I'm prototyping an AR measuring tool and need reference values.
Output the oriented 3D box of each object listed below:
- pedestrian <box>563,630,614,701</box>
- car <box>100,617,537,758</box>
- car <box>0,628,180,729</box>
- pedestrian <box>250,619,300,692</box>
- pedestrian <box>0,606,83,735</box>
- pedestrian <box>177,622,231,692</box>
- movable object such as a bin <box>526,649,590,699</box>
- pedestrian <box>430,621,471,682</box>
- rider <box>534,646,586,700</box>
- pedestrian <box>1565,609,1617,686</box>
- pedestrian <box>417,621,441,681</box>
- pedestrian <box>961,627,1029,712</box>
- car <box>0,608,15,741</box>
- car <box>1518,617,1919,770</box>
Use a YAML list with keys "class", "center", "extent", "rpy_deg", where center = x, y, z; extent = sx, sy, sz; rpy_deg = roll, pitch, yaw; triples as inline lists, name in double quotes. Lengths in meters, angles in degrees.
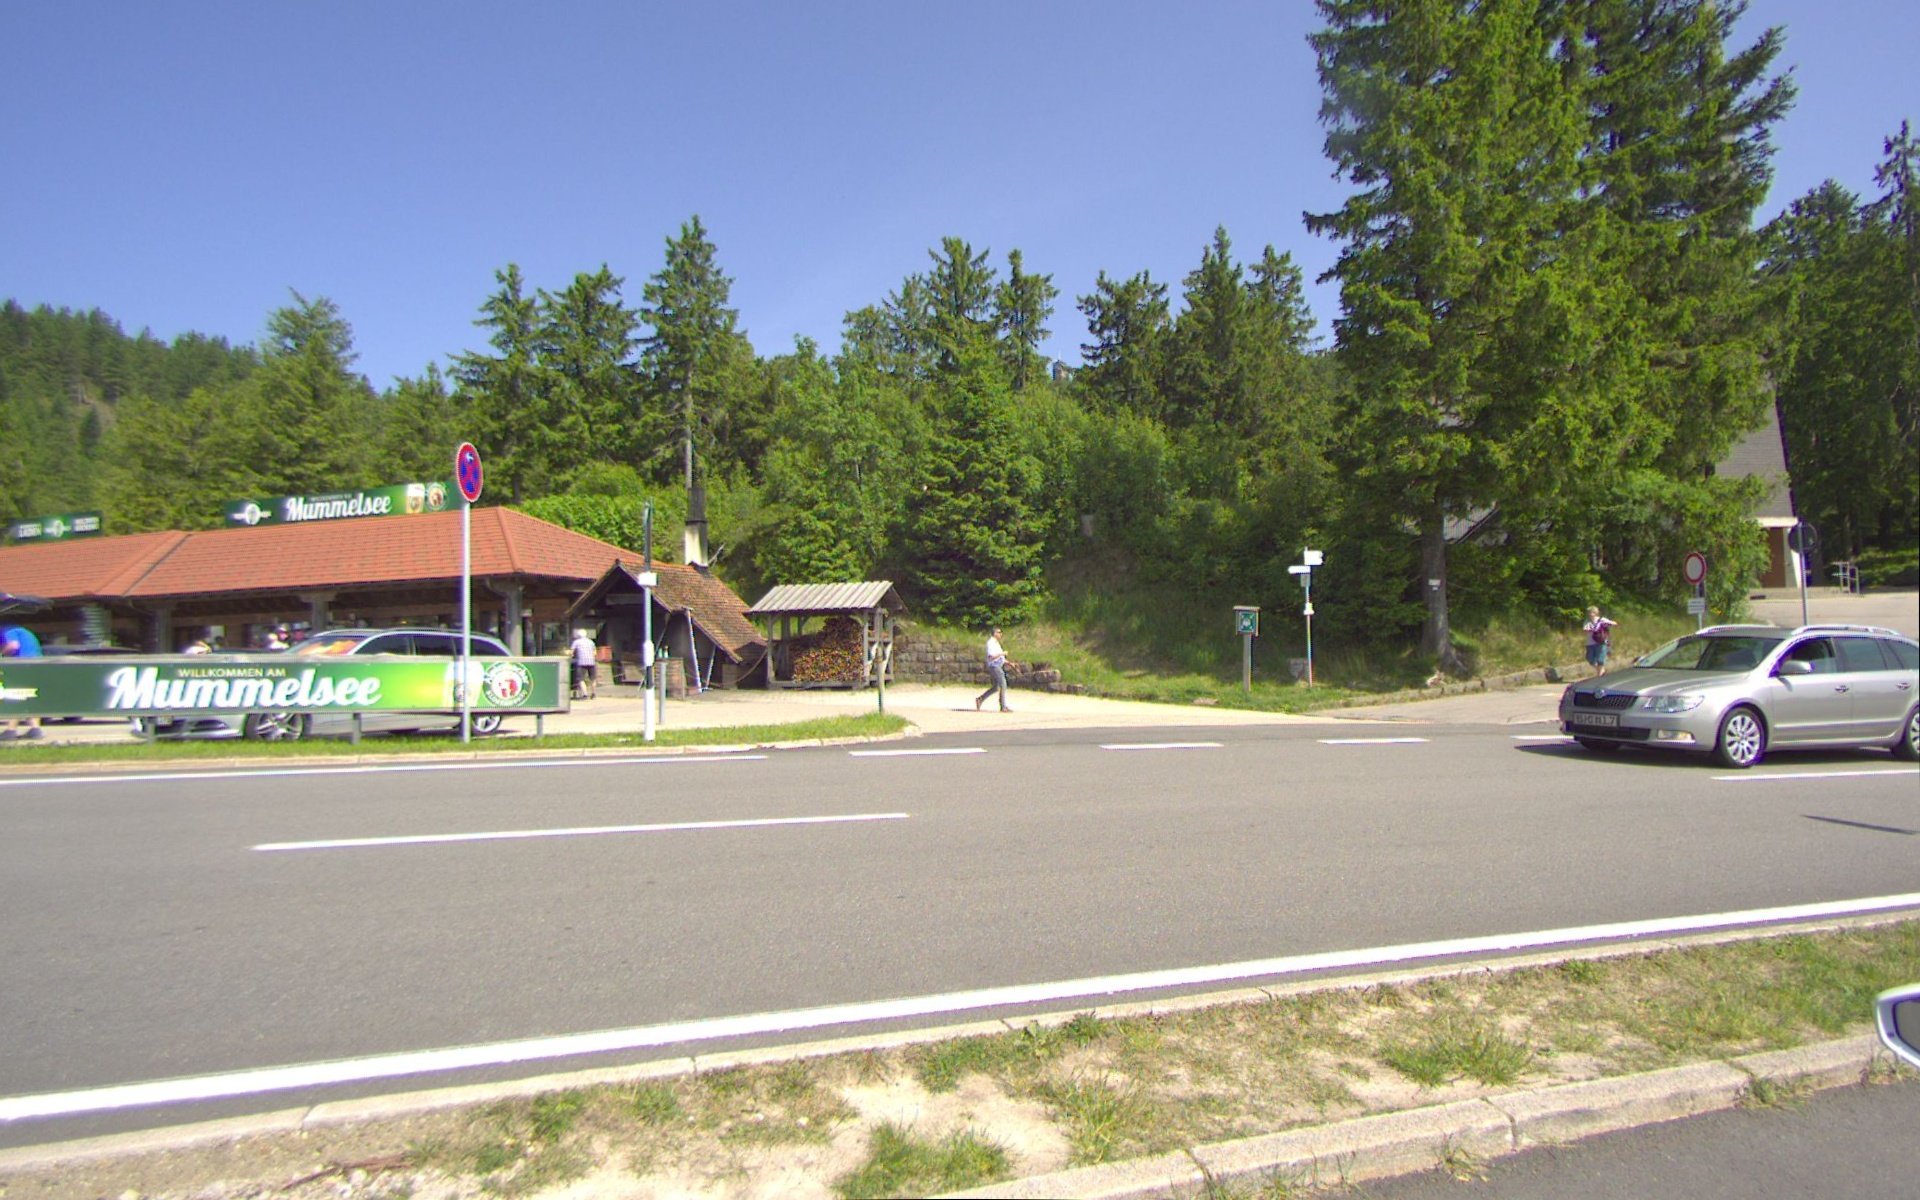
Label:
- class: "pedestrian"
  center: [-9.184, 1.596, 24.842]
  extent: [0.789, 1.721, 0.837]
  rpy_deg: [-1, -2, 32]
- class: "car"
  center: [-7.755, 1.022, 12.747]
  extent: [1.689, 1.449, 4.502]
  rpy_deg: [-1, -3, 23]
- class: "car"
  center: [-17.175, 1.449, 19.128]
  extent: [4.016, 1.738, 1.920]
  rpy_deg: [-1, -3, 23]
- class: "pedestrian"
  center: [-19.477, 1.567, 28.580]
  extent: [0.909, 2.040, 0.723]
  rpy_deg: [0, -2, 17]
- class: "pedestrian"
  center: [-12.450, 0.923, 13.421]
  extent: [0.830, 1.657, 0.746]
  rpy_deg: [-1, -2, 19]
- class: "pedestrian"
  center: [-22.477, 1.688, 29.878]
  extent: [0.945, 2.040, 0.856]
  rpy_deg: [0, -2, 17]
- class: "movable object such as a bin"
  center: [-10.129, 1.847, 25.306]
  extent: [1.196, 1.204, 0.981]
  rpy_deg: [-1, -2, 32]
- class: "pedestrian"
  center: [-14.923, 1.513, 29.450]
  extent: [0.789, 1.760, 0.747]
  rpy_deg: [-1, -2, 32]
- class: "rider"
  center: [-10.044, 1.818, 25.253]
  extent: [0.893, 1.291, 0.837]
  rpy_deg: [-1, -2, 32]
- class: "pedestrian"
  center: [14.362, 1.076, 22.862]
  extent: [0.673, 1.703, 0.718]
  rpy_deg: [1, -2, -22]
- class: "pedestrian"
  center: [-15.820, 1.517, 29.945]
  extent: [0.547, 1.760, 0.669]
  rpy_deg: [1, -2, -23]
- class: "pedestrian"
  center: [0.749, 1.440, 21.051]
  extent: [1.140, 1.720, 0.978]
  rpy_deg: [-1, -2, 24]
- class: "car"
  center: [-13.653, 0.852, 10.959]
  extent: [1.688, 1.677, 4.553]
  rpy_deg: [-1, -3, 20]
- class: "car"
  center: [8.983, 0.975, 11.475]
  extent: [4.637, 1.494, 1.879]
  rpy_deg: [1, -1, -17]
